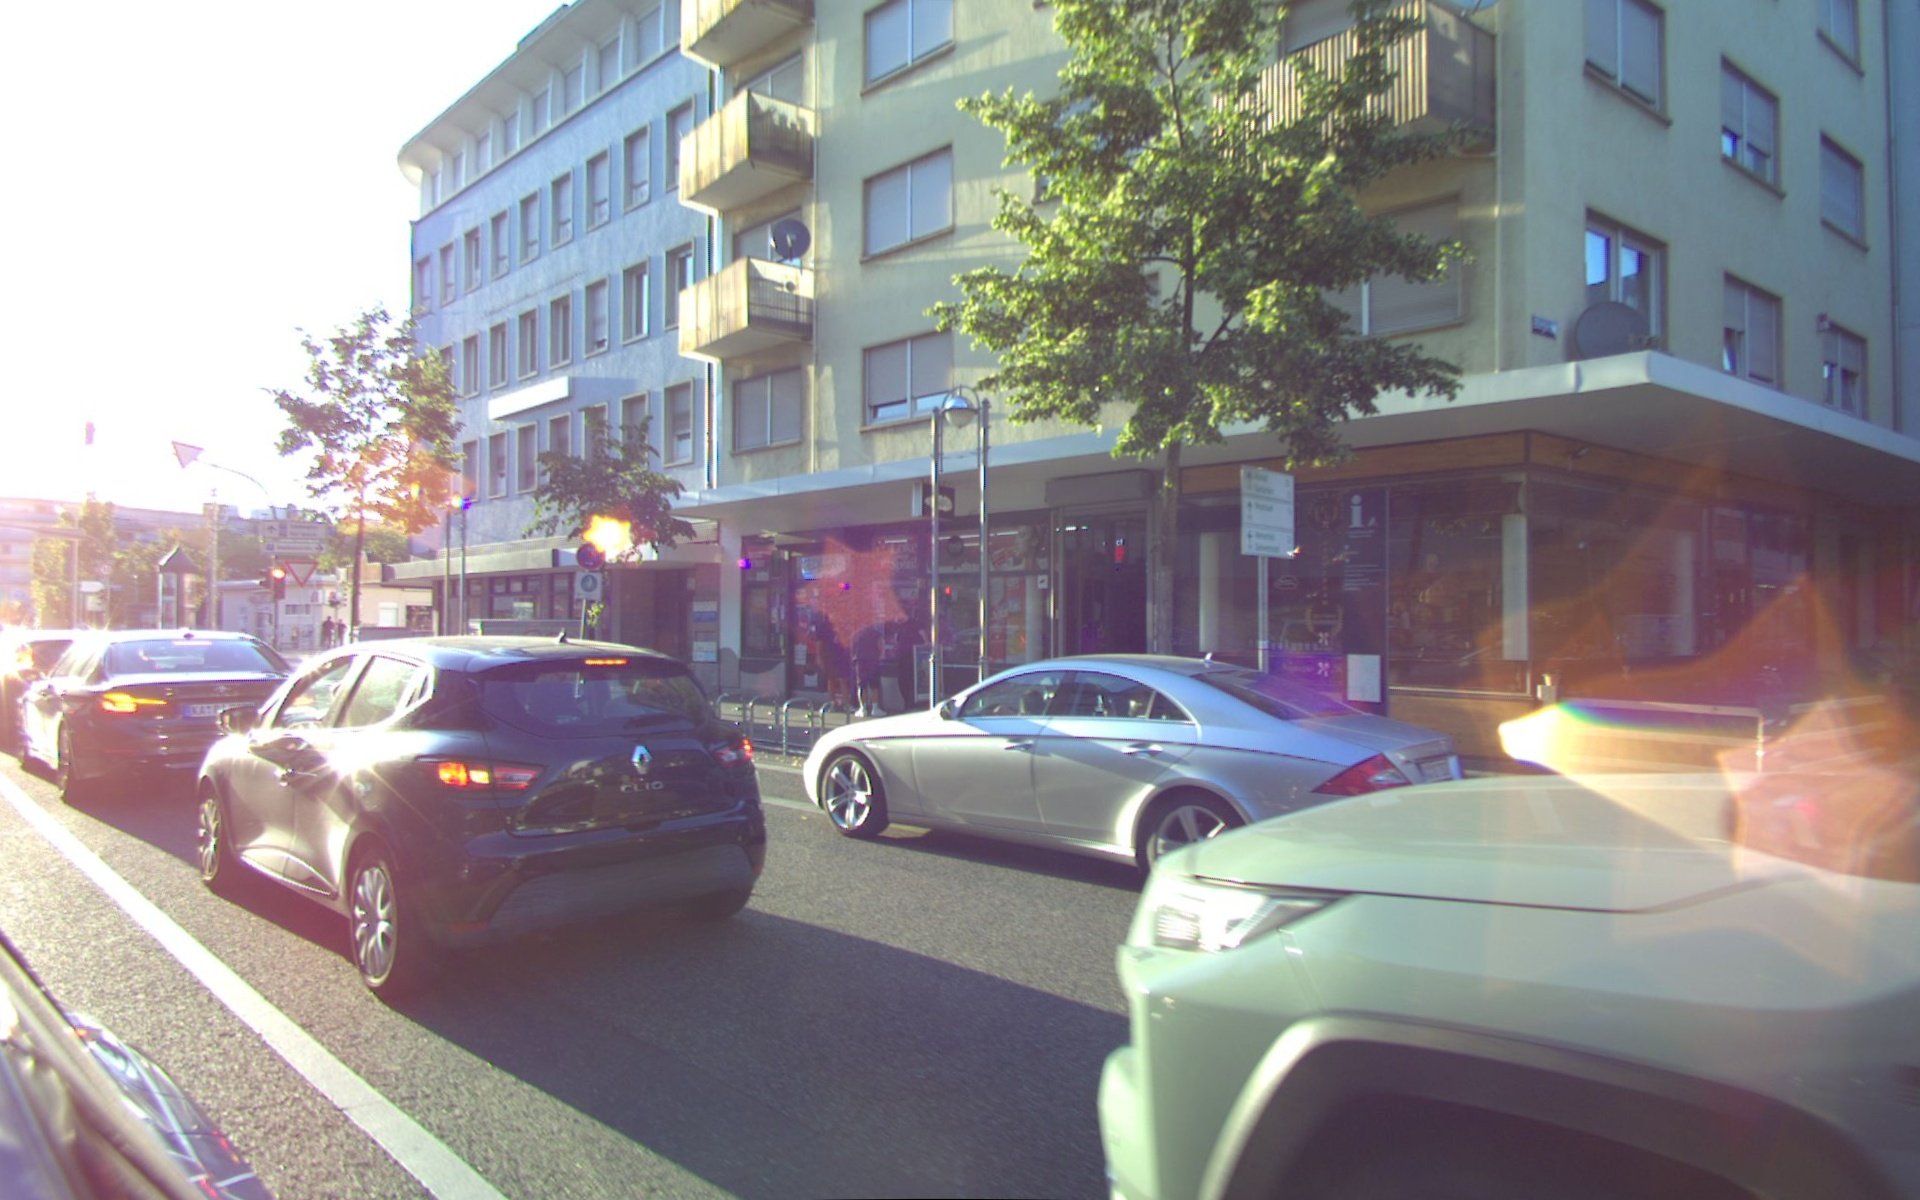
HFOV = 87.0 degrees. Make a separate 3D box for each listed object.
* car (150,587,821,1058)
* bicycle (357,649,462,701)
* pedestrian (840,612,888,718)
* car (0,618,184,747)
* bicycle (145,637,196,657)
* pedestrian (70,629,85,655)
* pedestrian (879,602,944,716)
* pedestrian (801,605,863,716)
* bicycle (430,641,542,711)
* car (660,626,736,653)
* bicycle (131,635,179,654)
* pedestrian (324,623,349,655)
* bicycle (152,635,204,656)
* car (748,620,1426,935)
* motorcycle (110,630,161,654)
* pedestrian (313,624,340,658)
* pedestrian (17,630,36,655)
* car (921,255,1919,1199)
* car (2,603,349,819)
[{"bbox_3d":[-2.869,0.779,5.523,4.464,1.561,1.705,-1,-2,42],"label":"car"},{"bbox_3d":[-12.073,1.630,22.255,0.490,0.999,1.990,-1,0,37],"label":"bicycle"},{"bbox_3d":[-1.581,1.049,16.644,0.758,1.689,0.744,0,-1,-6],"label":"pedestrian"},{"bbox_3d":[-12.780,1.084,14.292,4.505,1.559,1.938,-2,-3,40],"label":"car"},{"bbox_3d":[-44.895,2.655,57.576,0.778,1.096,2.195,-1,-1,35],"label":"bicycle"},{"bbox_3d":[-60.203,2.863,69.016,0.767,1.689,0.908,0,0,-41],"label":"pedestrian"},{"bbox_3d":[-0.815,0.972,16.921,0.813,1.833,0.732,-3,-3,44],"label":"pedestrian"},{"bbox_3d":[-2.211,1.027,17.474,0.758,1.862,0.744,1,-3,-39],"label":"pedestrian"},{"bbox_3d":[-9.353,1.475,20.031,0.491,1.228,1.988,-1,0,41],"label":"bicycle"},{"bbox_3d":[-15.191,2.281,58.991,2.034,1.487,4.577,-2,-2,21],"label":"car"},{"bbox_3d":[-48.404,2.686,60.847,0.779,1.096,2.152,-1,-2,41],"label":"bicycle"},{"bbox_3d":[-34.287,2.141,55.630,0.896,1.689,0.778,-1,0,7],"label":"pedestrian"},{"bbox_3d":[-43.986,2.544,56.915,0.778,1.096,2.171,-1,-1,35],"label":"bicycle"},{"bbox_3d":[0.670,0.970,7.279,4.508,1.523,1.972,-1,-4,42],"label":"car"},{"bbox_3d":[-51.077,2.575,62.719,2.416,1.376,0.780,0,-1,-43],"label":"motorcycle"},{"bbox_3d":[-33.804,2.170,54.002,0.874,1.798,0.901,-1,0,18],"label":"pedestrian"},{"bbox_3d":[-63.531,2.899,68.877,0.892,1.689,0.781,0,0,-37],"label":"pedestrian"},{"bbox_3d":[2.357,0.509,1.053,4.735,1.657,1.921,0,-2,40],"label":"car"},{"bbox_3d":[-7.937,0.895,10.058,4.614,1.657,1.925,-1,-2,42],"label":"car"}]
